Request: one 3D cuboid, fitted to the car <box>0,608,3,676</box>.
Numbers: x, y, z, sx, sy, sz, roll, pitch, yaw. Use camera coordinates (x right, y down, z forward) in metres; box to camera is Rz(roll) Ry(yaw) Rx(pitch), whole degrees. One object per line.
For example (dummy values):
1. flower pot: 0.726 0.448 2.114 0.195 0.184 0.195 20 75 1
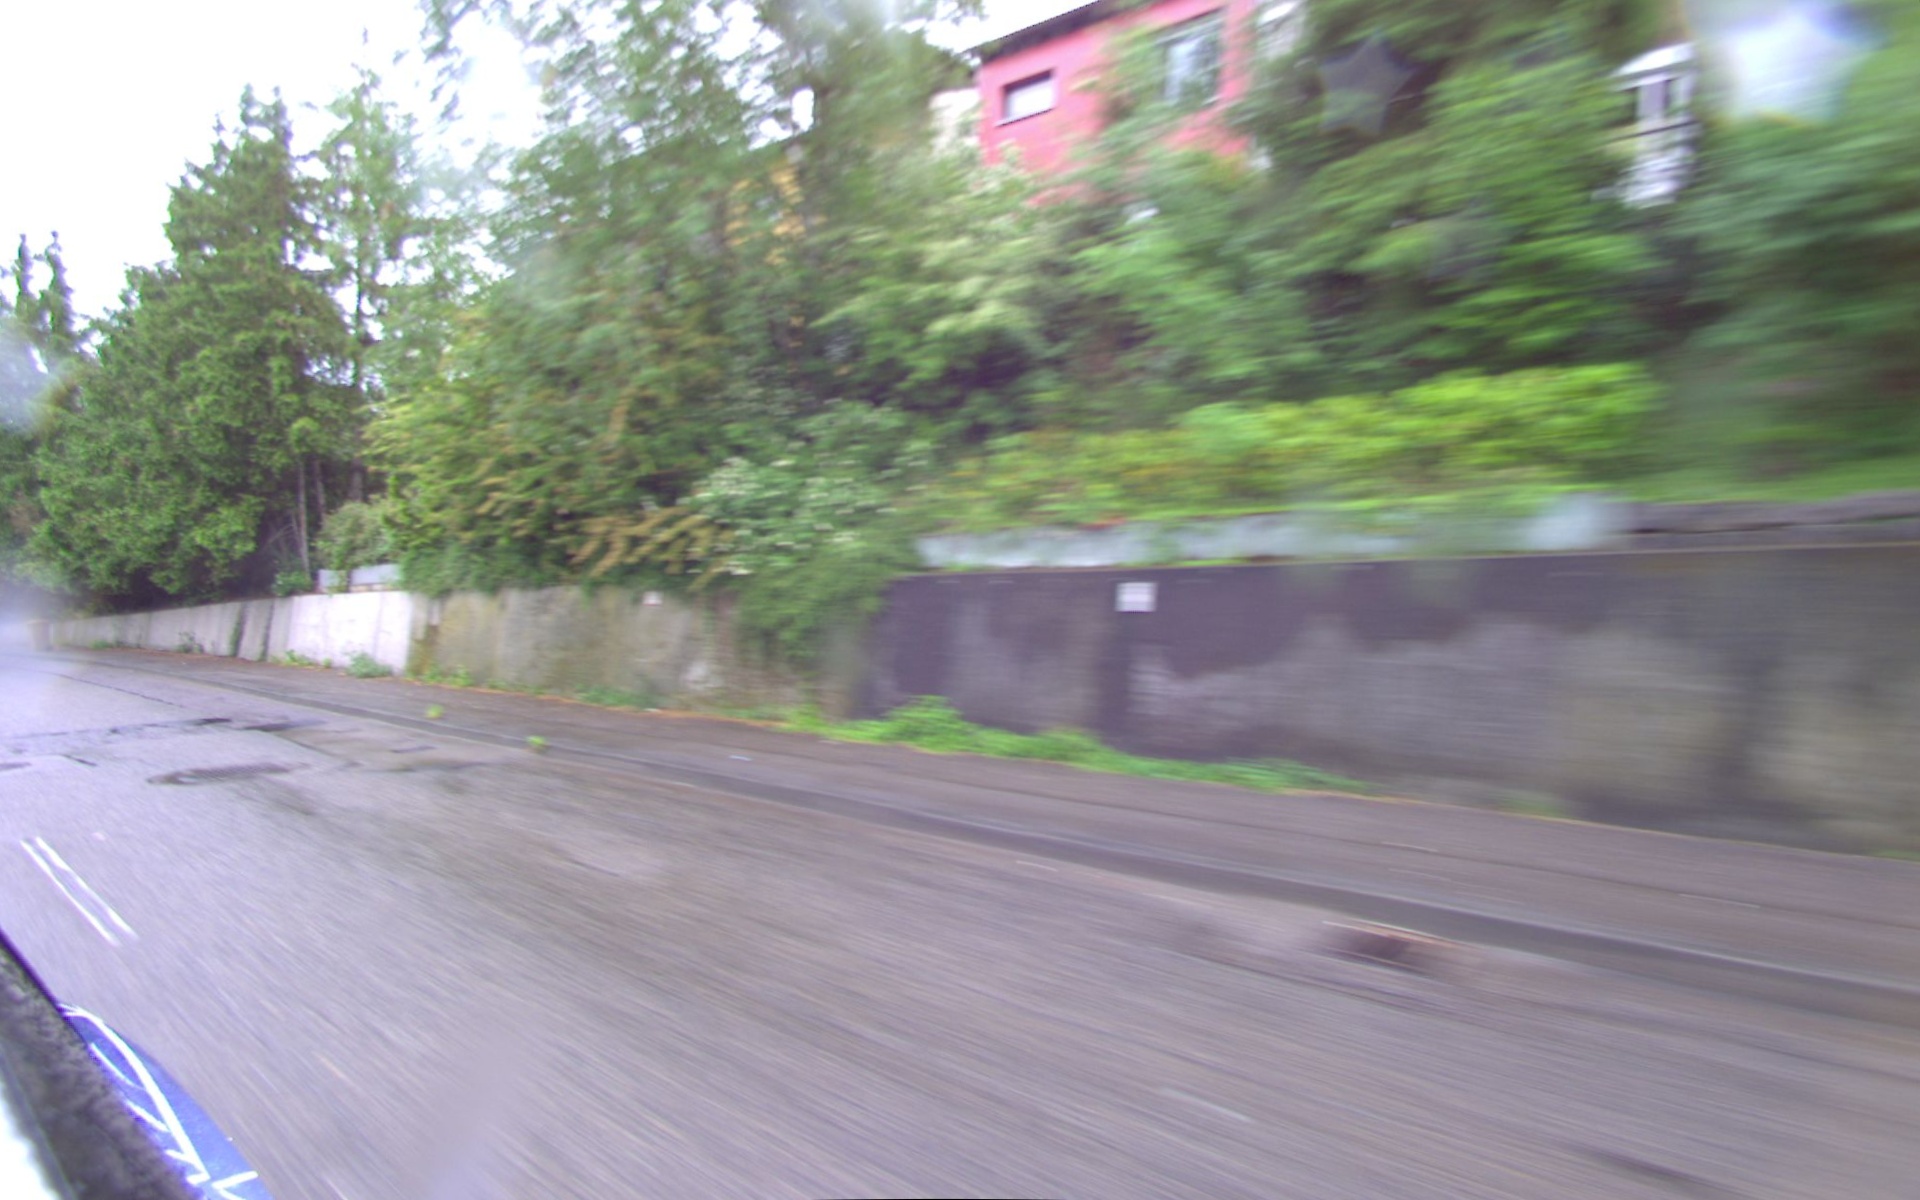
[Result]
1. car: -26.557 1.034 25.961 4.171 1.888 2.090 -1 1 35
